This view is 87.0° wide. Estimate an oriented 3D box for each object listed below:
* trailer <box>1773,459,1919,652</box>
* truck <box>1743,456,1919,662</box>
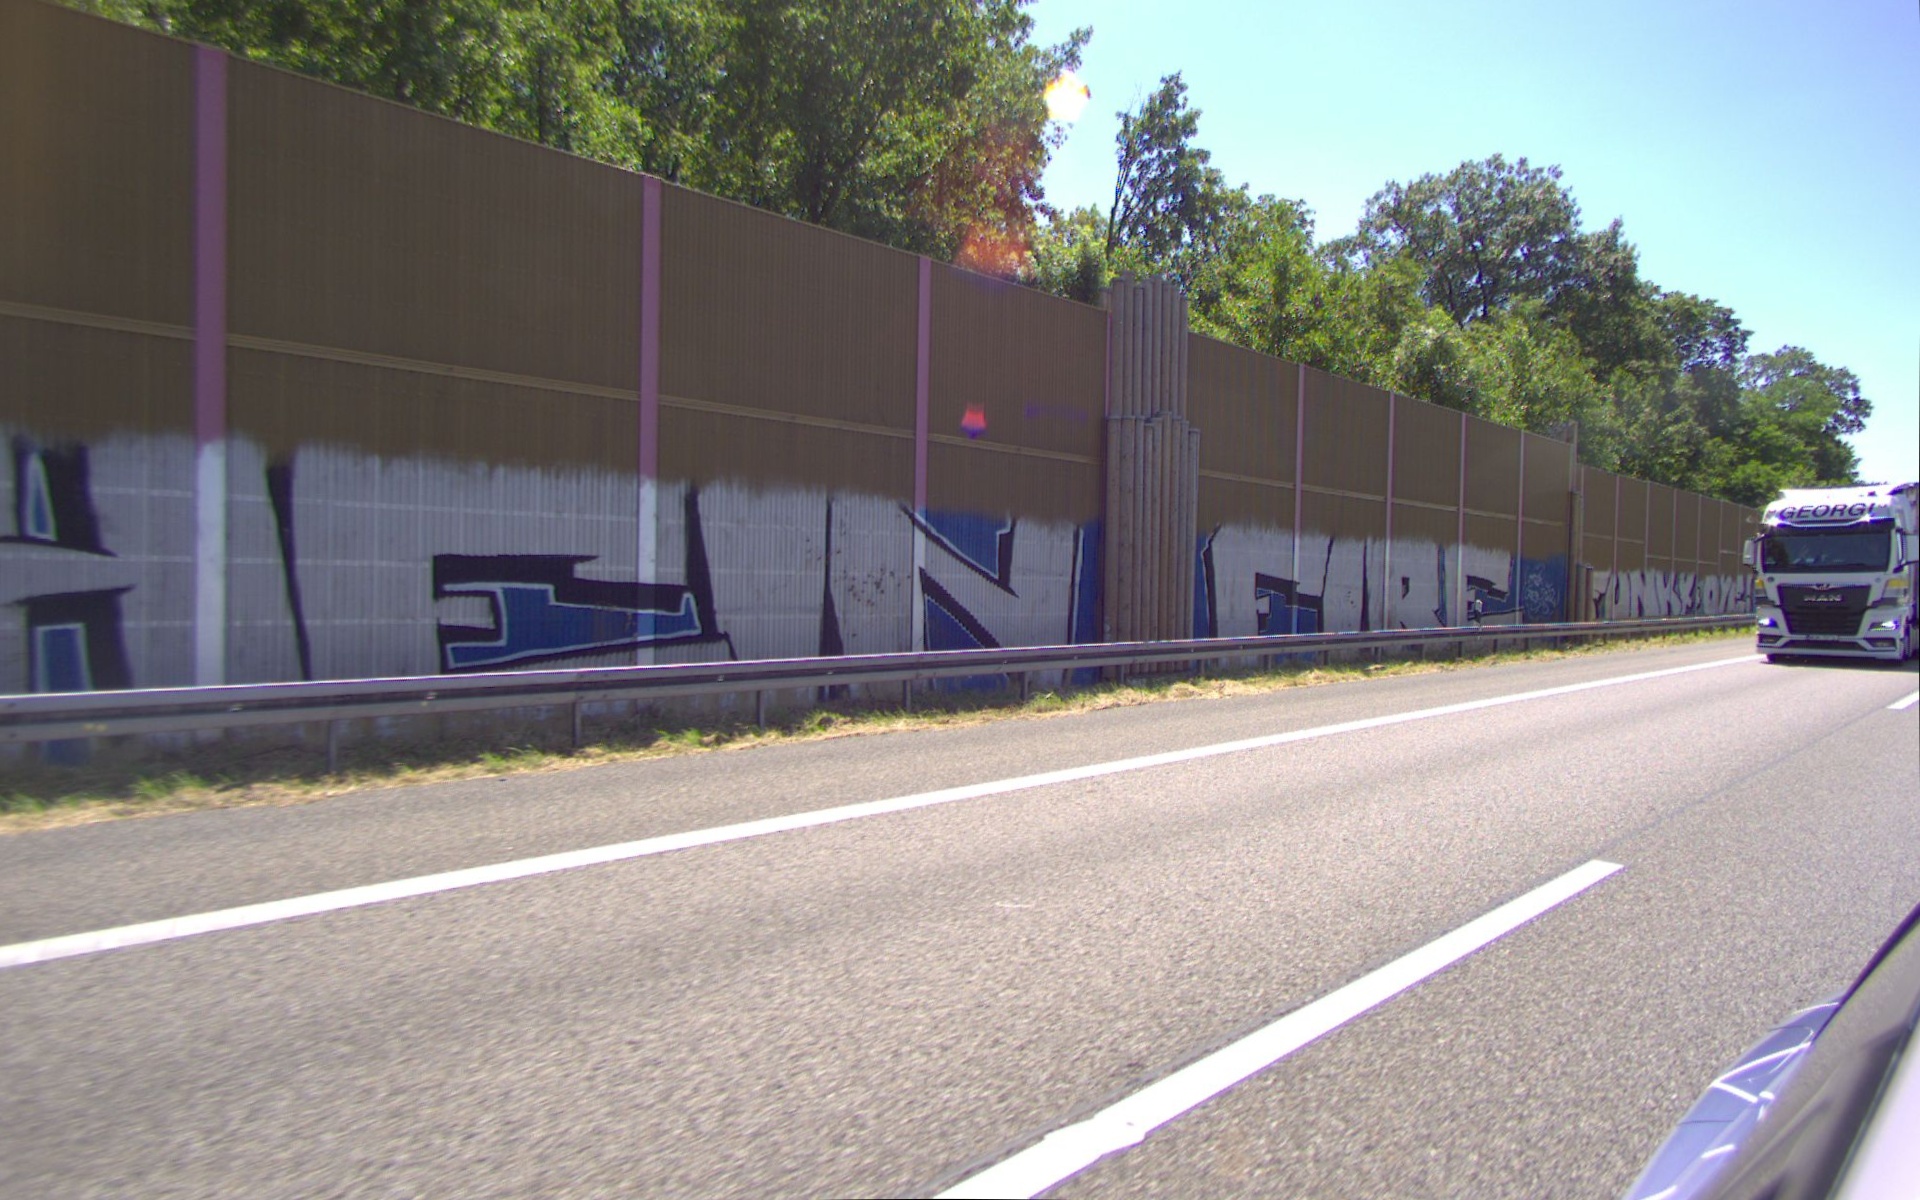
[{"bbox_3d":[25.909,-1.099,28.090,13.185,4.343,2.998,-1,1,-41],"label":"trailer"},{"bbox_3d":[20.571,-0.900,23.374,5.162,4.176,3.008,-1,1,-41],"label":"truck"}]
